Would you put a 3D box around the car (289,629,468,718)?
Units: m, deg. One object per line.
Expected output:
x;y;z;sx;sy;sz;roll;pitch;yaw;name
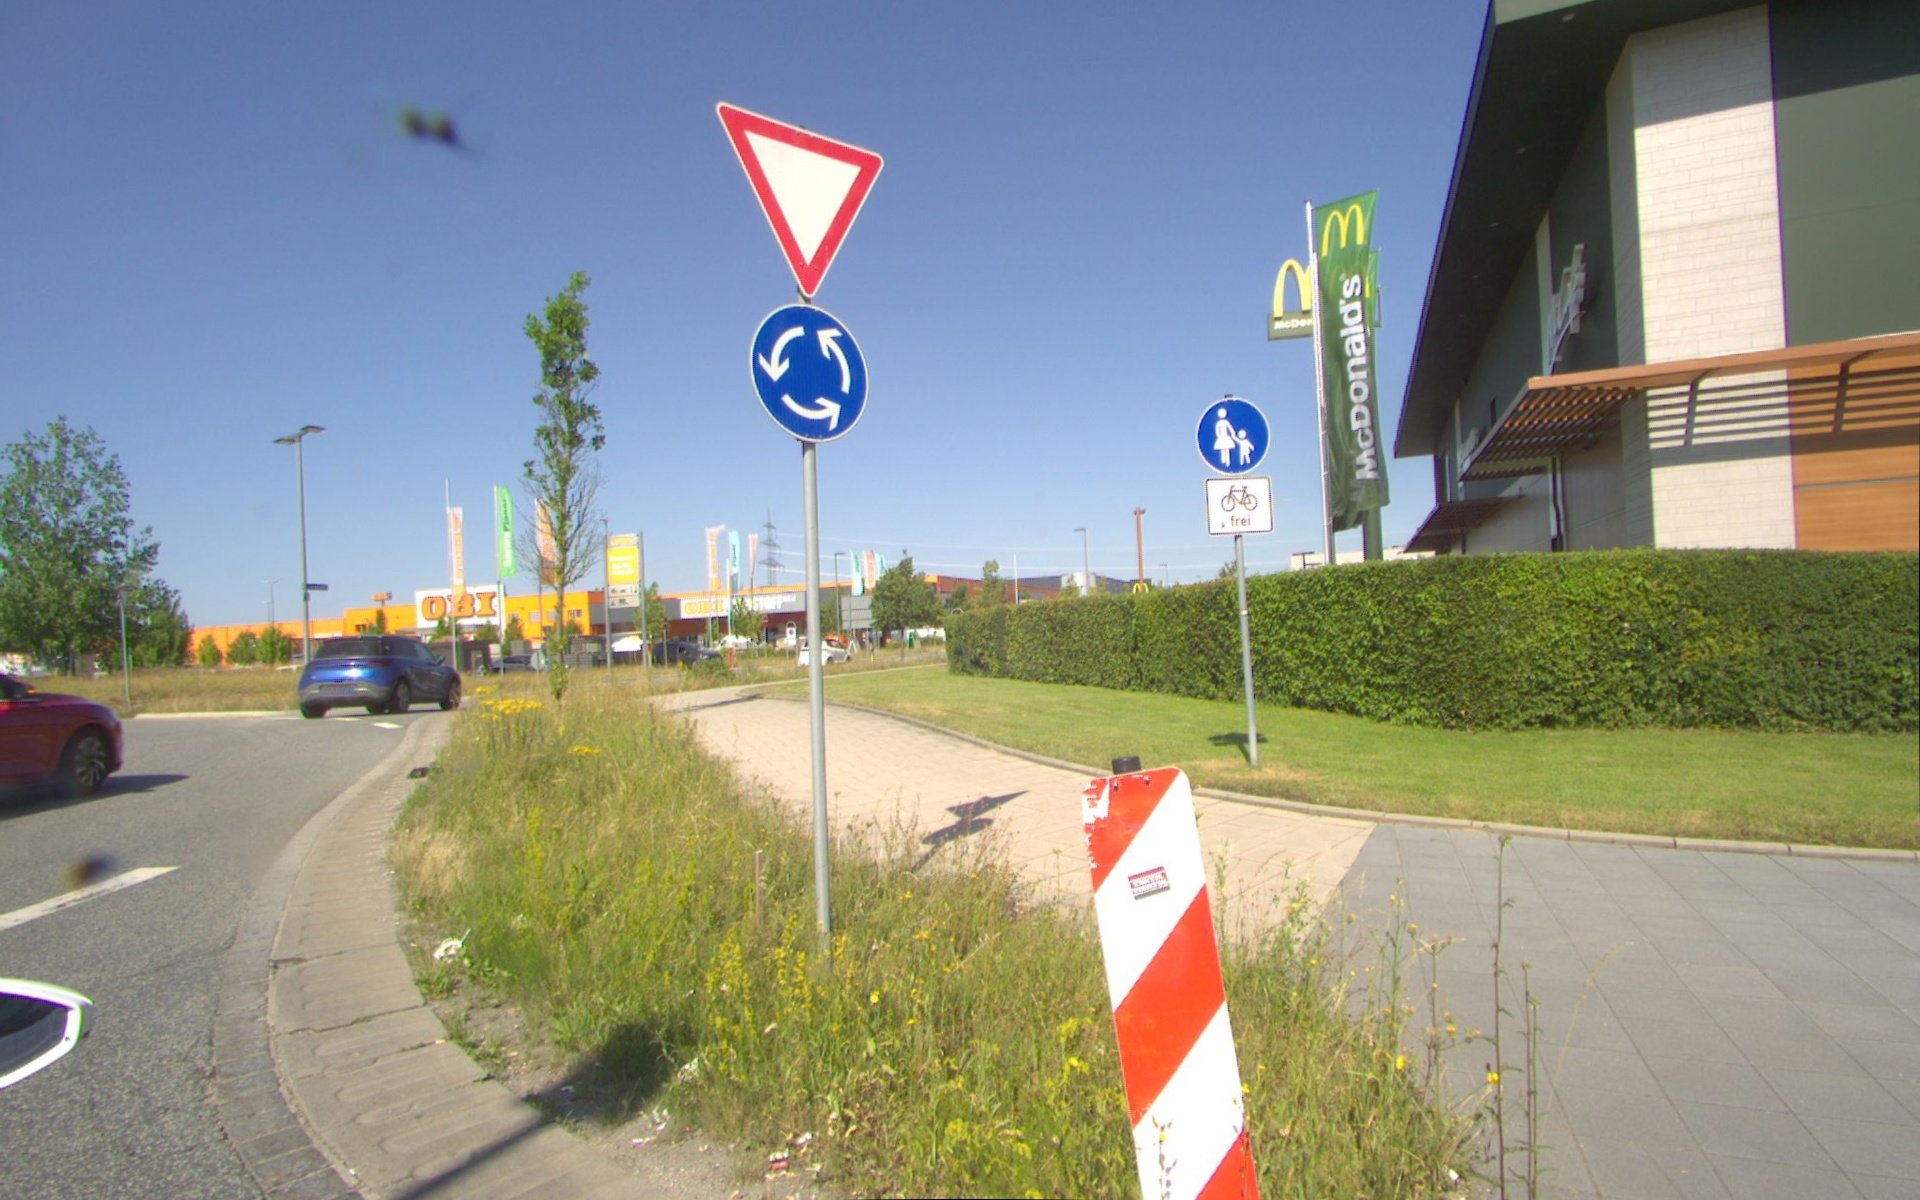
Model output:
-12.174;1.494;21.289;1.821;1.656;4.081;-1;-2;-7;car

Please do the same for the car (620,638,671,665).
-22.689;3.721;72.359;1.670;1.863;3.771;-3;-4;17;car

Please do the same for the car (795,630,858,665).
-6.179;2.194;46.555;1.488;1.459;3.344;-3;-1;19;car

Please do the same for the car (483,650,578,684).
-24.745;3.847;57.782;4.609;1.647;2.079;-4;-2;9;car

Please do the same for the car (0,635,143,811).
-8.718;1.020;7.705;1.773;1.434;4.118;-1;-1;-6;car
